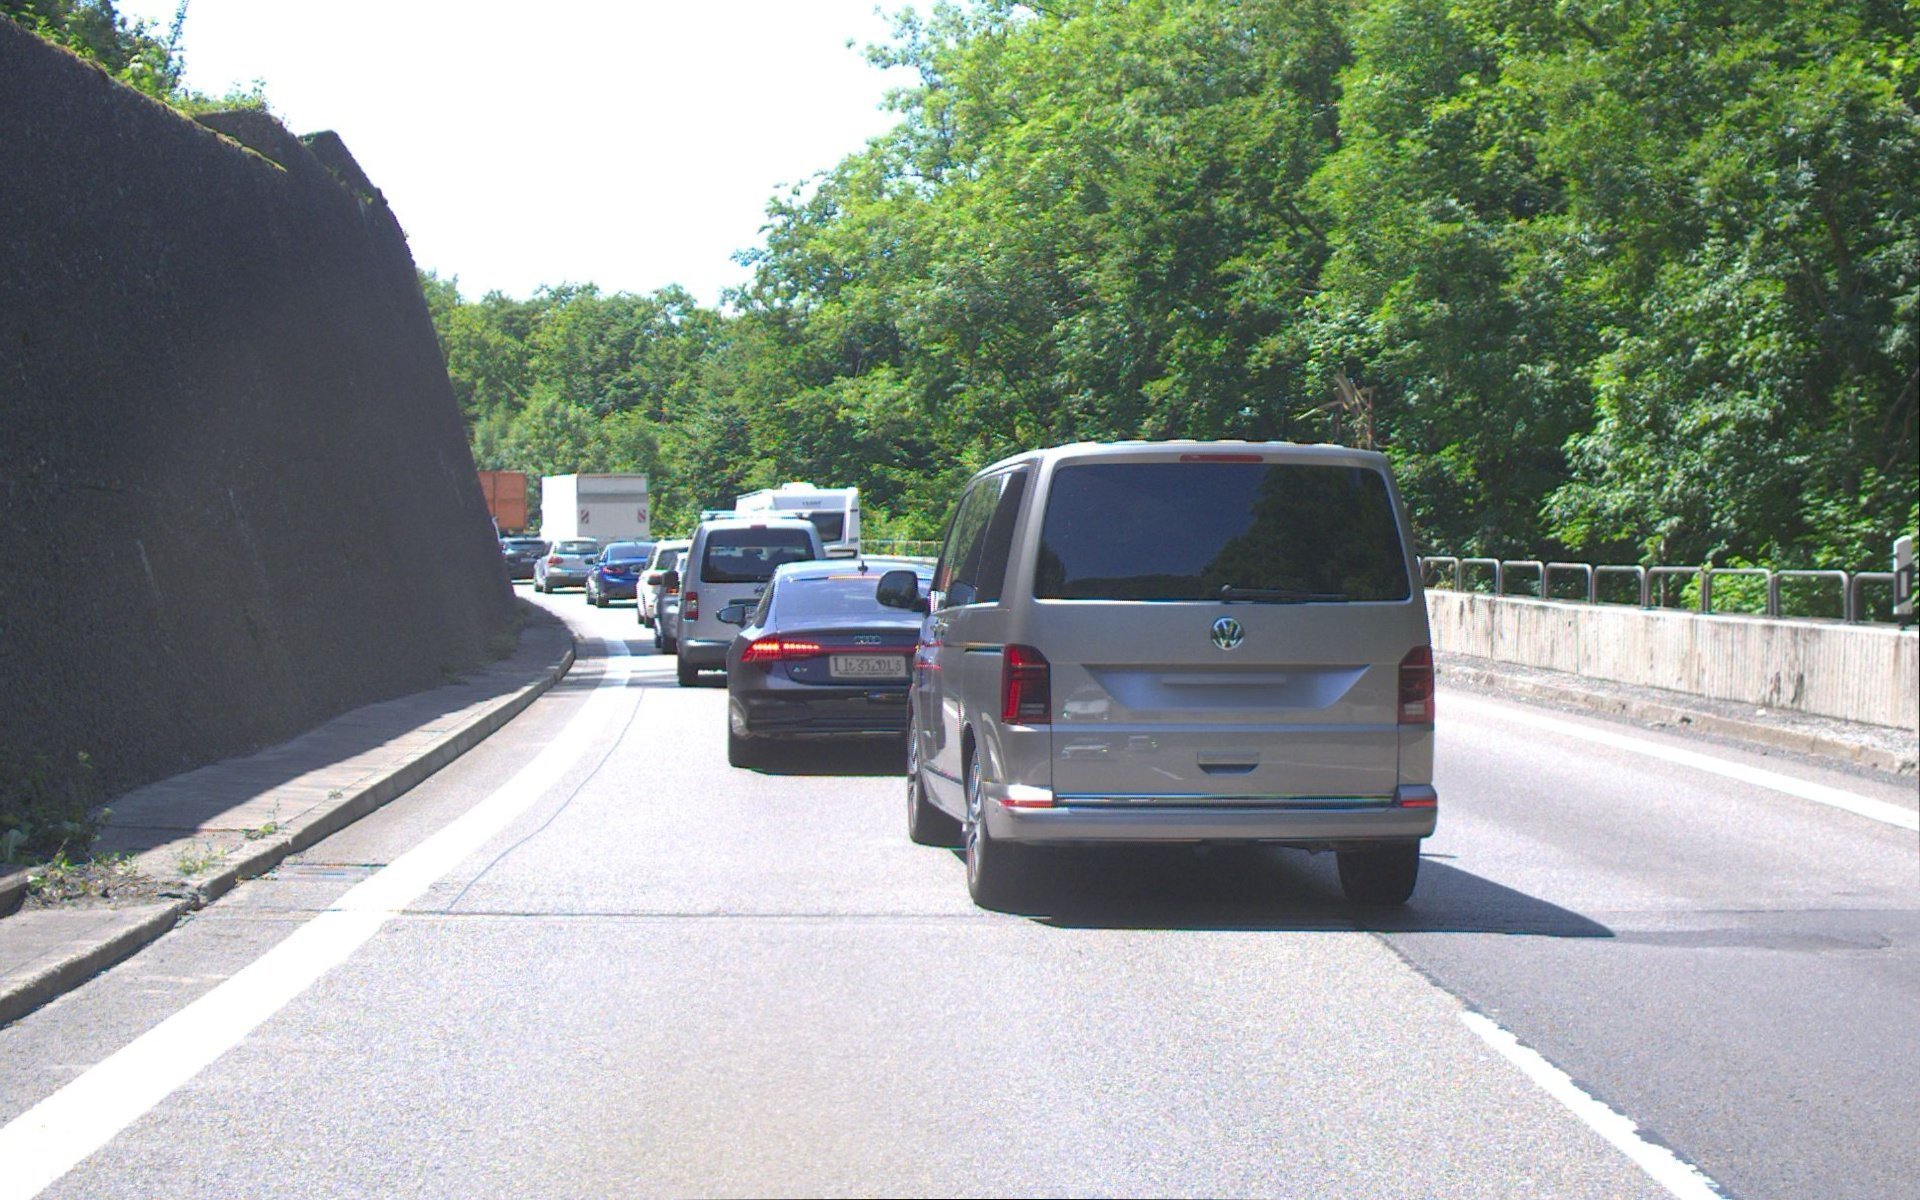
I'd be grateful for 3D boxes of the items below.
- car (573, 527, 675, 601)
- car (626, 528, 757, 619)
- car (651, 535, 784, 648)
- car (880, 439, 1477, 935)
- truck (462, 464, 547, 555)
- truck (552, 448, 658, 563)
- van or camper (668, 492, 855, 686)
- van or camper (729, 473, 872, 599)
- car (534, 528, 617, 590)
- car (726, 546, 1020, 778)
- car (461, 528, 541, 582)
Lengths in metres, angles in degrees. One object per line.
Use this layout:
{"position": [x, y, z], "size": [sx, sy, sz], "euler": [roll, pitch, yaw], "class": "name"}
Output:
{"position": [-7.594, -0.831, 77.474], "size": [1.857, 1.614, 4.001], "euler": [1, 1, -11], "class": "car"}
{"position": [-4.887, -0.509, 62.159], "size": [1.894, 1.579, 3.772], "euler": [-1, 1, -12], "class": "car"}
{"position": [-3.504, -0.156, 49.381], "size": [1.771, 1.467, 4.001], "euler": [2, 1, -5], "class": "car"}
{"position": [0.812, 0.299, 15.871], "size": [1.940, 1.924, 4.695], "euler": [1, 1, -6], "class": "car"}
{"position": [-18.891, -3.737, 142.548], "size": [3.163, 3.456, 8.224], "euler": [4, 1, -8], "class": "truck"}
{"position": [-12.484, -3.302, 120.377], "size": [2.924, 3.674, 7.727], "euler": [4, 1, -10], "class": "truck"}
{"position": [-2.225, -0.157, 38.371], "size": [1.853, 1.935, 4.166], "euler": [4, 1, -4], "class": "van or camper"}
{"position": [-3.904, -1.571, 82.721], "size": [2.603, 2.845, 6.337], "euler": [-2, 2, -10], "class": "van or camper"}
{"position": [-10.332, -1.125, 92.259], "size": [1.993, 1.612, 4.001], "euler": [0, 1, -9], "class": "car"}
{"position": [-0.652, 0.371, 24.667], "size": [1.904, 1.484, 4.380], "euler": [1, 1, -2], "class": "car"}
{"position": [-13.874, -1.379, 103.811], "size": [1.750, 1.565, 3.772], "euler": [0, 1, -18], "class": "car"}
